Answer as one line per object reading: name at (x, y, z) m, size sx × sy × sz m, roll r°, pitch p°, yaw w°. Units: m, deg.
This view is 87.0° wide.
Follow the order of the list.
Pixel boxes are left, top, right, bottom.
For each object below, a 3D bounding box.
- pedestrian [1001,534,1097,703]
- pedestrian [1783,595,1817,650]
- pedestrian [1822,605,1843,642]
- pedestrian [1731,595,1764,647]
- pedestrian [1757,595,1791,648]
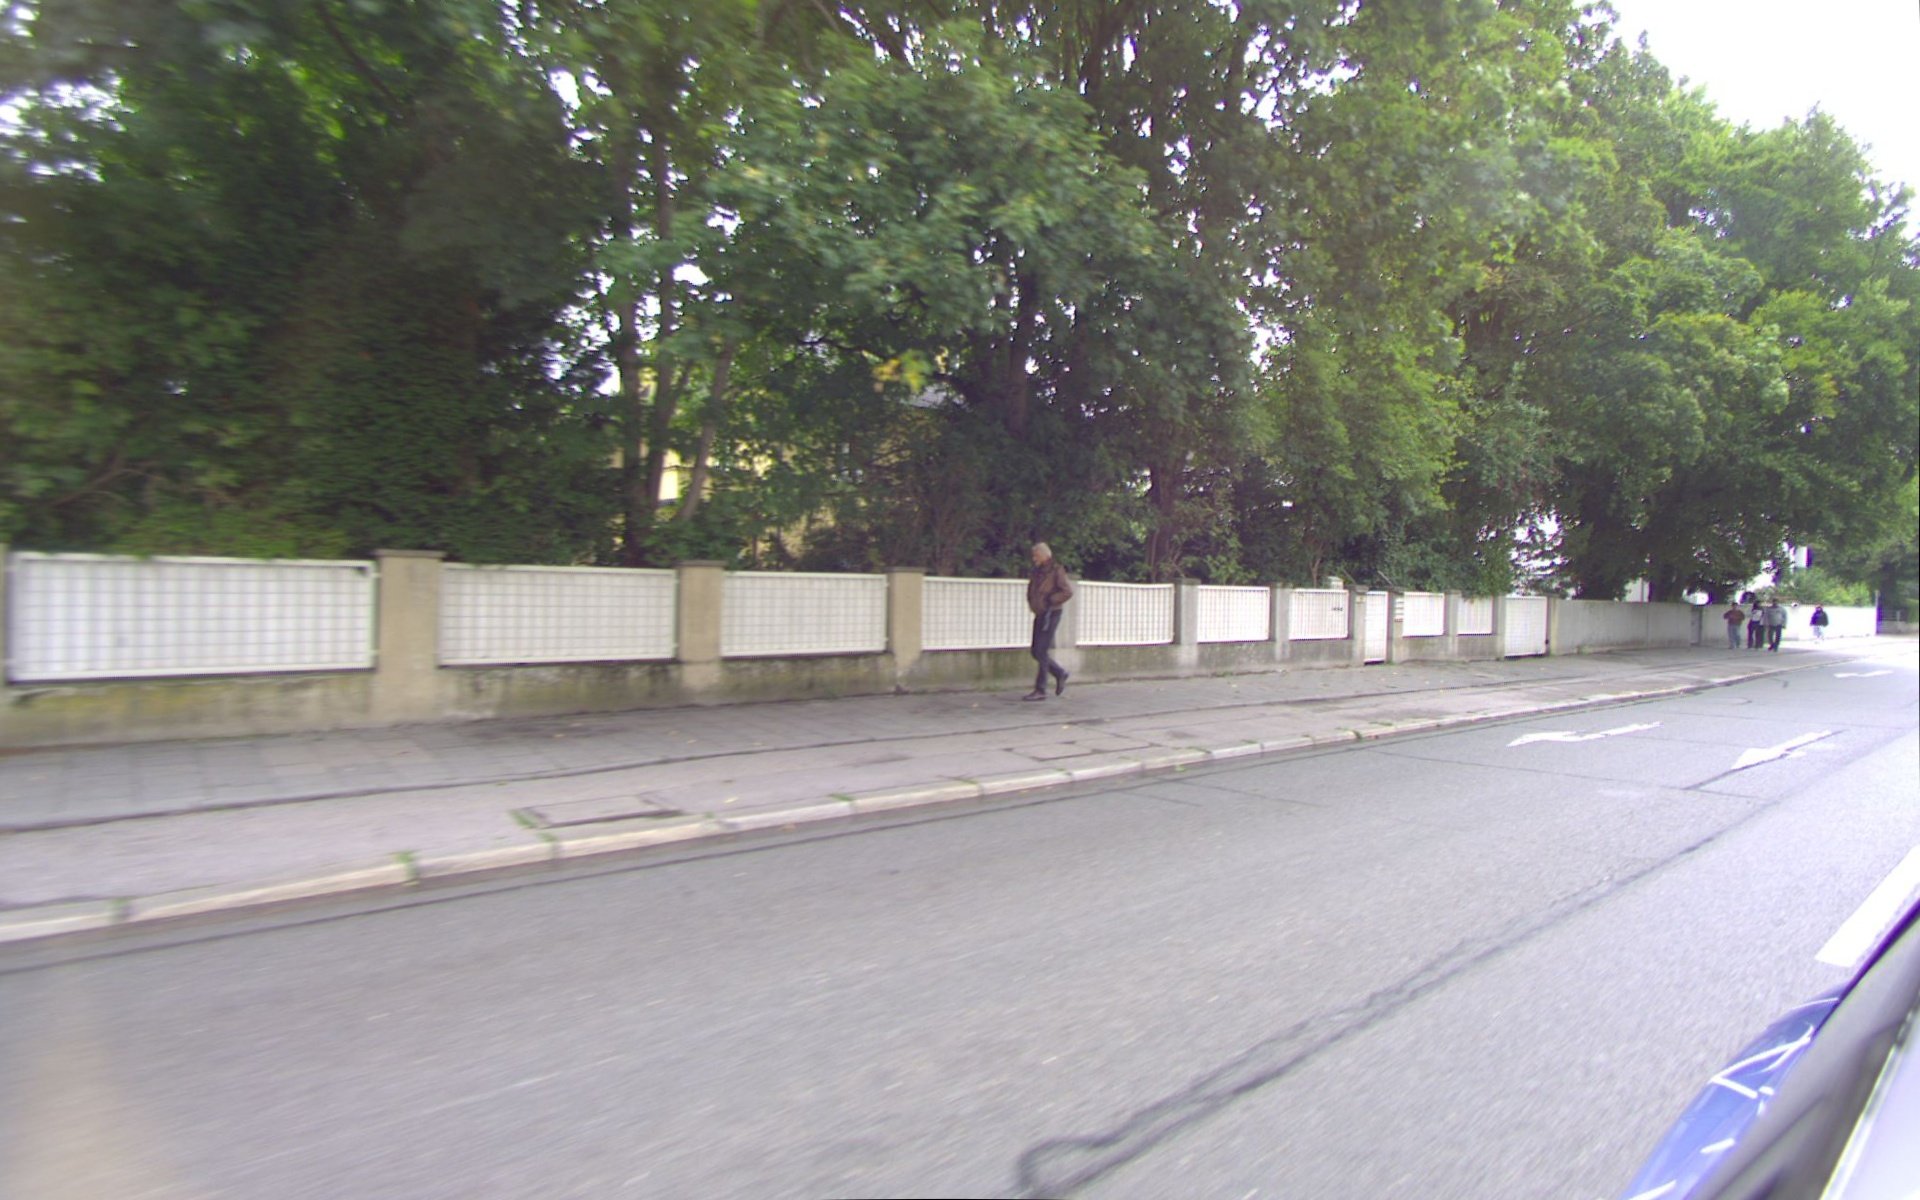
pedestrian at (1.082, 0.197, 12.312) m, size 0.788 × 1.966 × 0.779 m, roll 1°, pitch 2°, yaw -40°
pedestrian at (27.773, 0.742, 33.452) m, size 0.716 × 1.743 × 0.667 m, roll 1°, pitch 3°, yaw -41°
pedestrian at (38.416, 1.017, 44.539) m, size 0.716 × 1.600 × 0.529 m, roll 1°, pitch 3°, yaw -41°
pedestrian at (26.862, 0.710, 34.516) m, size 0.753 × 1.726 × 0.667 m, roll 1°, pitch 3°, yaw -41°
pedestrian at (27.320, 0.715, 33.970) m, size 0.716 × 1.713 × 0.667 m, roll 1°, pitch 3°, yaw -41°
